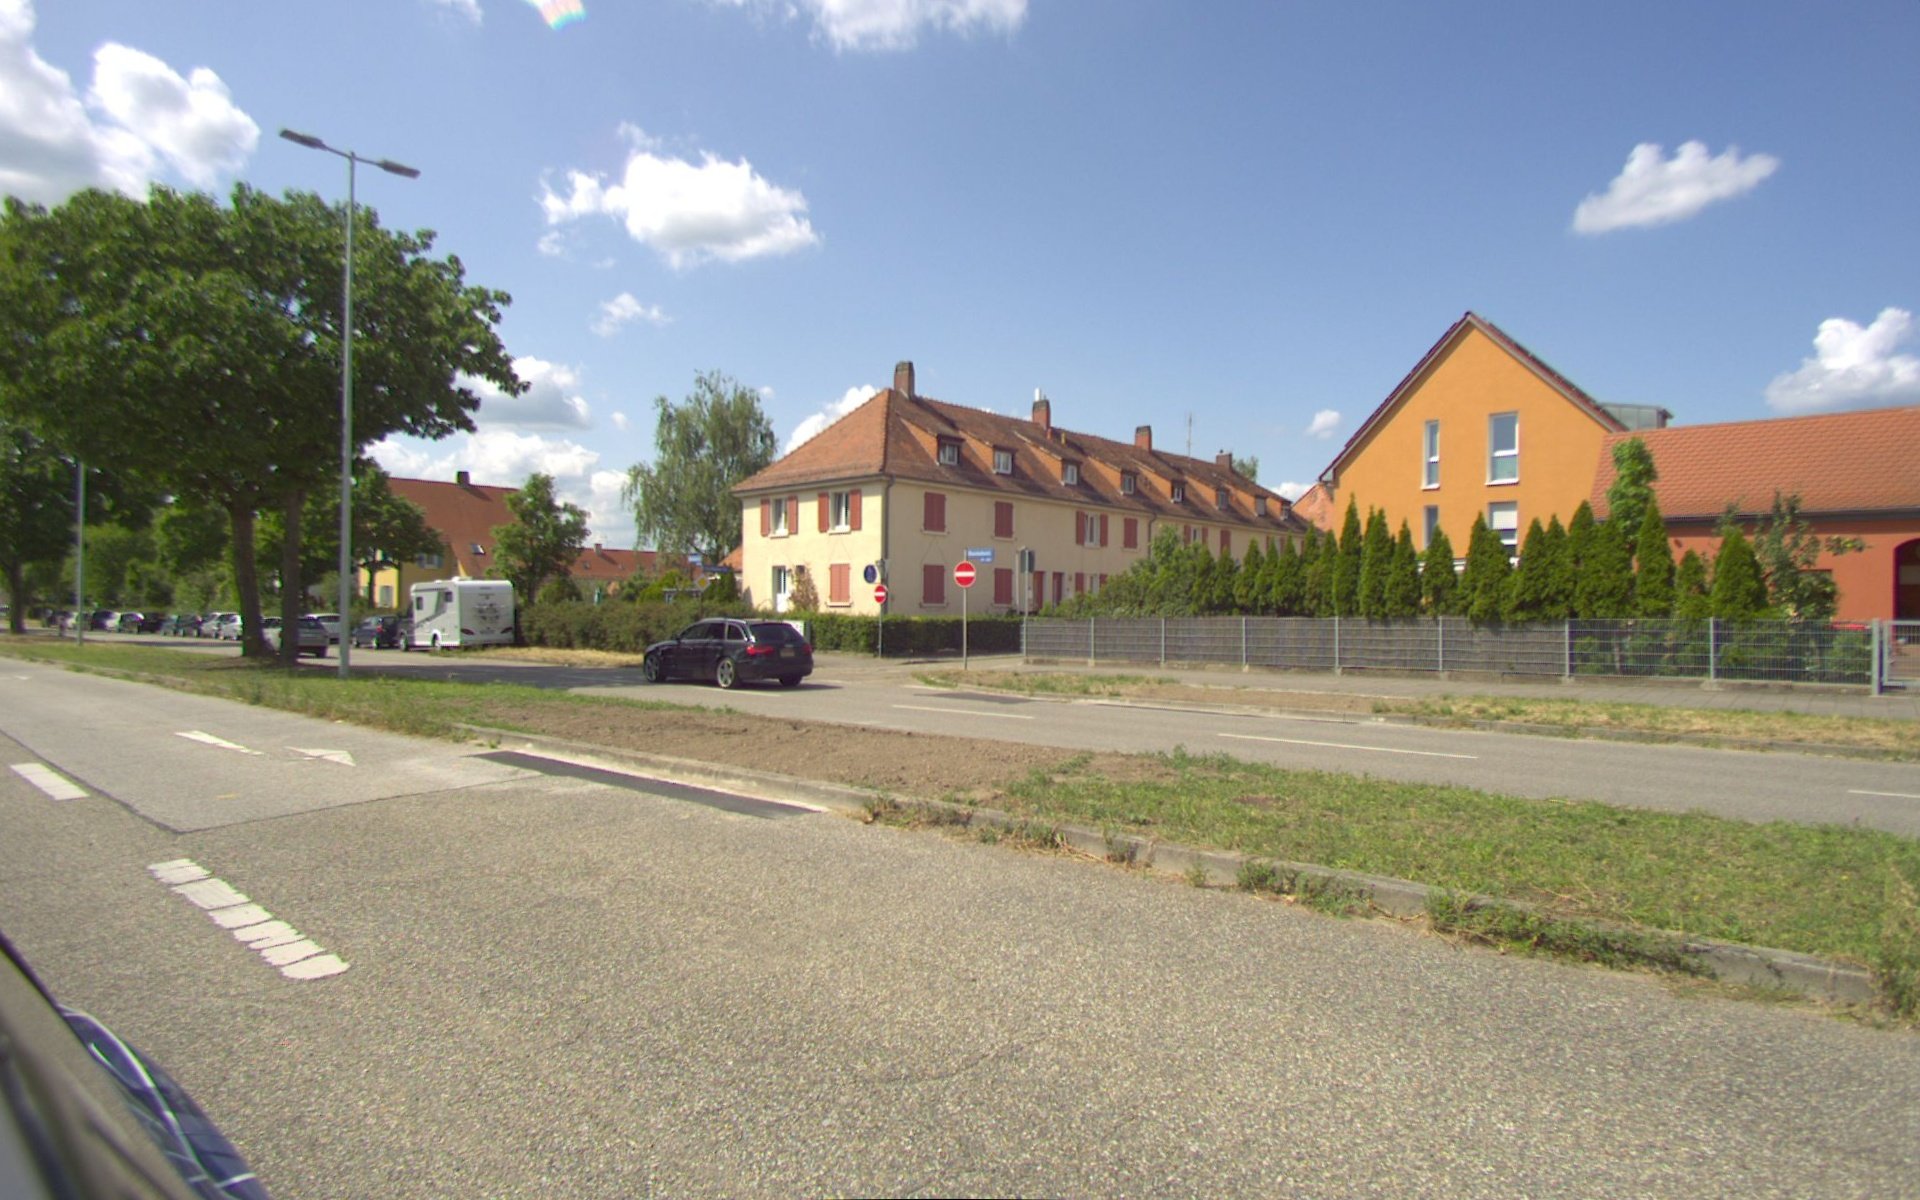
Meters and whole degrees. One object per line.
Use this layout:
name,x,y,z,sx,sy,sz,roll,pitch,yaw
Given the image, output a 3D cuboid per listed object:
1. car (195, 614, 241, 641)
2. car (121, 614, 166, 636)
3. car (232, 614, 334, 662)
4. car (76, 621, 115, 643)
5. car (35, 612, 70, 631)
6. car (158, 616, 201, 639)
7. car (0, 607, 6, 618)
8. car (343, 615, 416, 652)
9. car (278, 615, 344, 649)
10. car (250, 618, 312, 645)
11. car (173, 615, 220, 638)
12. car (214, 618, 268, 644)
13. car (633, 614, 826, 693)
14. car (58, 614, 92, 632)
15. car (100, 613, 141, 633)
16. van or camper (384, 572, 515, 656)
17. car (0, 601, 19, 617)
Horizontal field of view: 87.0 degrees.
car,-45.459,1.677,61.983,3.738,1.569,1.389,0,1,39
car,-59.423,1.827,73.617,4.098,1.492,1.644,-1,1,38
car,-24.325,1.331,36.311,4.649,1.519,1.715,0,-3,40
car,-70.871,2.615,82.948,4.309,1.624,1.644,0,2,38
car,-84.099,1.987,93.757,3.995,1.563,1.750,0,2,38
car,-52.670,1.847,68.253,3.474,1.405,1.547,0,2,39
car,-127.627,1.663,132.716,1.550,1.408,4.004,-1,1,-4
car,-26.180,1.464,45.590,3.990,1.496,1.619,0,2,41
car,-32.795,1.576,51.102,4.122,1.496,1.671,0,2,41
car,-36.662,1.686,54.591,4.582,1.316,1.619,-1,1,41
car,-49.164,1.674,65.135,4.352,1.405,1.389,-1,1,39
car,-41.597,1.739,58.514,4.529,1.380,1.495,-1,1,41
car,-4.975,1.067,21.476,4.577,1.449,1.752,0,-1,44
car,-75.843,1.956,86.730,3.530,1.472,1.578,0,2,38
car,-64.940,1.758,78.295,3.842,1.462,1.644,0,2,38
van or camper,-20.911,0.547,41.252,7.318,3.135,2.235,-1,1,42
car,-122.934,1.175,129.329,1.778,2.028,4.004,-1,1,-4
